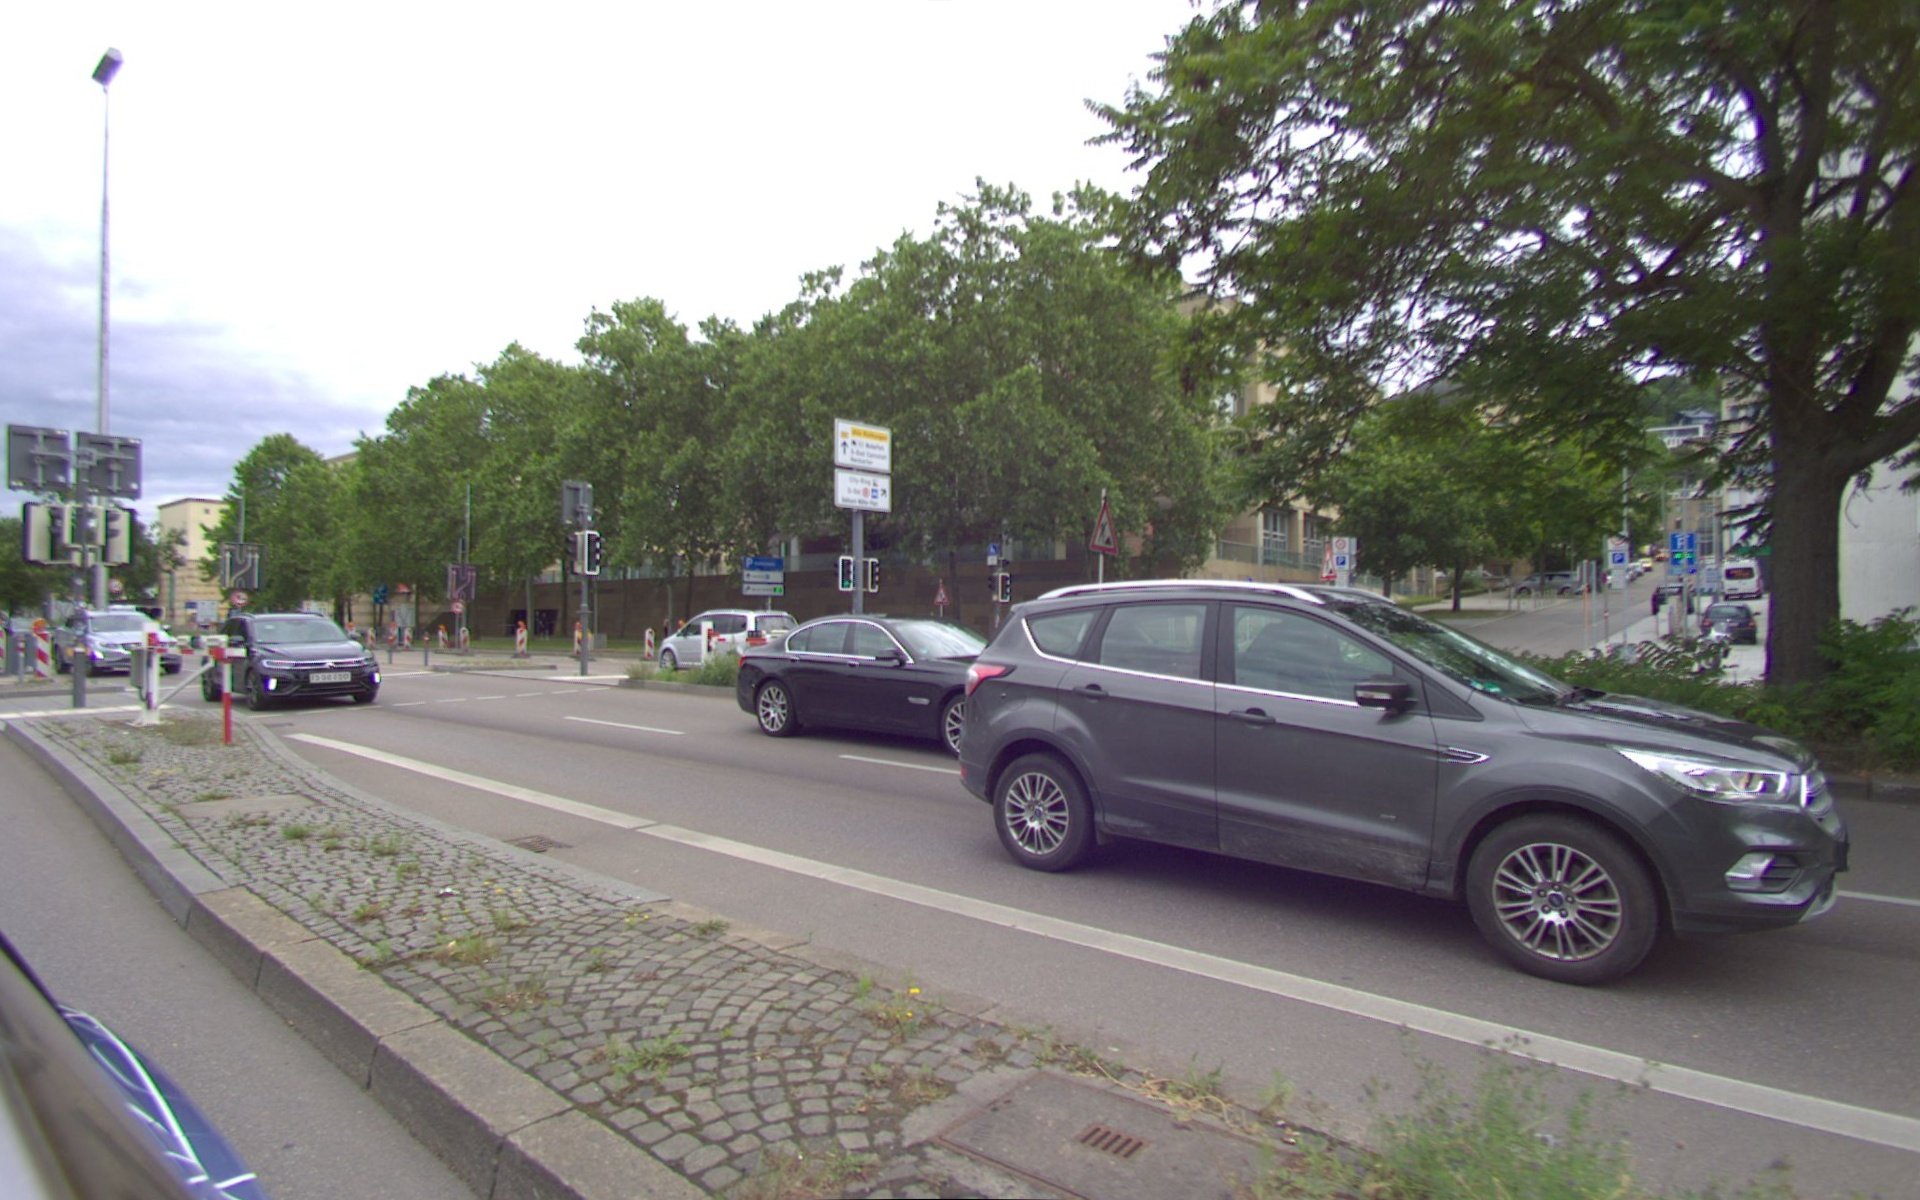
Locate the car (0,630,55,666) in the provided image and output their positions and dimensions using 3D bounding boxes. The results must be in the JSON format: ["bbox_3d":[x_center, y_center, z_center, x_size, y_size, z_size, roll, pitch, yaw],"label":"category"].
[{"bbox_3d":[-41.988,2.107,44.946,4.804,1.494,1.974,-1,-1,39],"label":"car"}]

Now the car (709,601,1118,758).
[{"bbox_3d":[-0.718,0.803,11.948,4.806,1.494,1.973,-1,-2,41],"label":"car"}]

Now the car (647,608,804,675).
[{"bbox_3d":[-5.810,0.986,24.861,4.042,1.501,1.719,-1,-2,41],"label":"car"}]

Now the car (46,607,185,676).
[{"bbox_3d":[-22.086,0.996,26.405,4.734,1.629,1.973,0,-1,40],"label":"car"}]

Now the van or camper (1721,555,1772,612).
[{"bbox_3d":[48.594,-1.055,62.491,2.394,3.372,6.250,0,1,39],"label":"van or camper"}]

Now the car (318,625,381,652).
[{"bbox_3d":[-32.381,2.007,53.649,3.998,1.383,1.707,-2,-2,41],"label":"car"}]

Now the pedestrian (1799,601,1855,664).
[{"bbox_3d":[21.831,0.808,25.495,0.589,1.569,0.883,0,-1,-2],"label":"pedestrian"}]

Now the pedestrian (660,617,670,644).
[{"bbox_3d":[-18.265,1.873,62.636,0.443,1.619,0.351,0,1,34],"label":"pedestrian"}]

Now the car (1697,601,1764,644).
[{"bbox_3d":[27.804,0.772,36.485,1.750,1.285,3.947,0,2,40],"label":"car"}]

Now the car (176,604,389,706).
[{"bbox_3d":[-11.672,0.848,17.360,4.145,1.527,1.747,0,0,36],"label":"car"}]

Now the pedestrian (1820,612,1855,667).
[{"bbox_3d":[26.450,1.167,30.494,0.761,1.580,1.087,0,1,43],"label":"pedestrian"}]

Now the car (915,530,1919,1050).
[{"bbox_3d":[2.095,0.669,5.542,4.655,1.728,1.874,-1,-1,41],"label":"car"}]

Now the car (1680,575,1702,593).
[{"bbox_3d":[88.805,-1.932,122.880,1.997,2.029,3.948,-1,-2,38],"label":"car"}]

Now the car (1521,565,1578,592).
[{"bbox_3d":[46.948,-1.693,80.587,3.682,2.029,1.567,-1,-2,42],"label":"car"}]

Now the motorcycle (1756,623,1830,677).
[{"bbox_3d":[20.498,1.201,24.939,0.653,1.243,1.880,2,-1,15],"label":"motorcycle"}]

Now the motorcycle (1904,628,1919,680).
[{"bbox_3d":[22.944,1.285,23.515,0.653,1.243,1.880,2,-1,15],"label":"motorcycle"}]

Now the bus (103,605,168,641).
[{"bbox_3d":[-80.715,2.234,98.978,10.439,3.330,2.883,-1,-2,39],"label":"bus"}]

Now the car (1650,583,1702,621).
[{"bbox_3d":[39.347,0.094,55.588,1.999,1.863,3.947,0,2,40],"label":"car"}]

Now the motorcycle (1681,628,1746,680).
[{"bbox_3d":[19.244,1.347,25.879,0.653,1.243,1.880,2,-1,15],"label":"motorcycle"}]

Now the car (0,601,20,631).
[{"bbox_3d":[-53.327,0.898,55.599,3.996,1.658,1.974,-1,-1,40],"label":"car"}]
